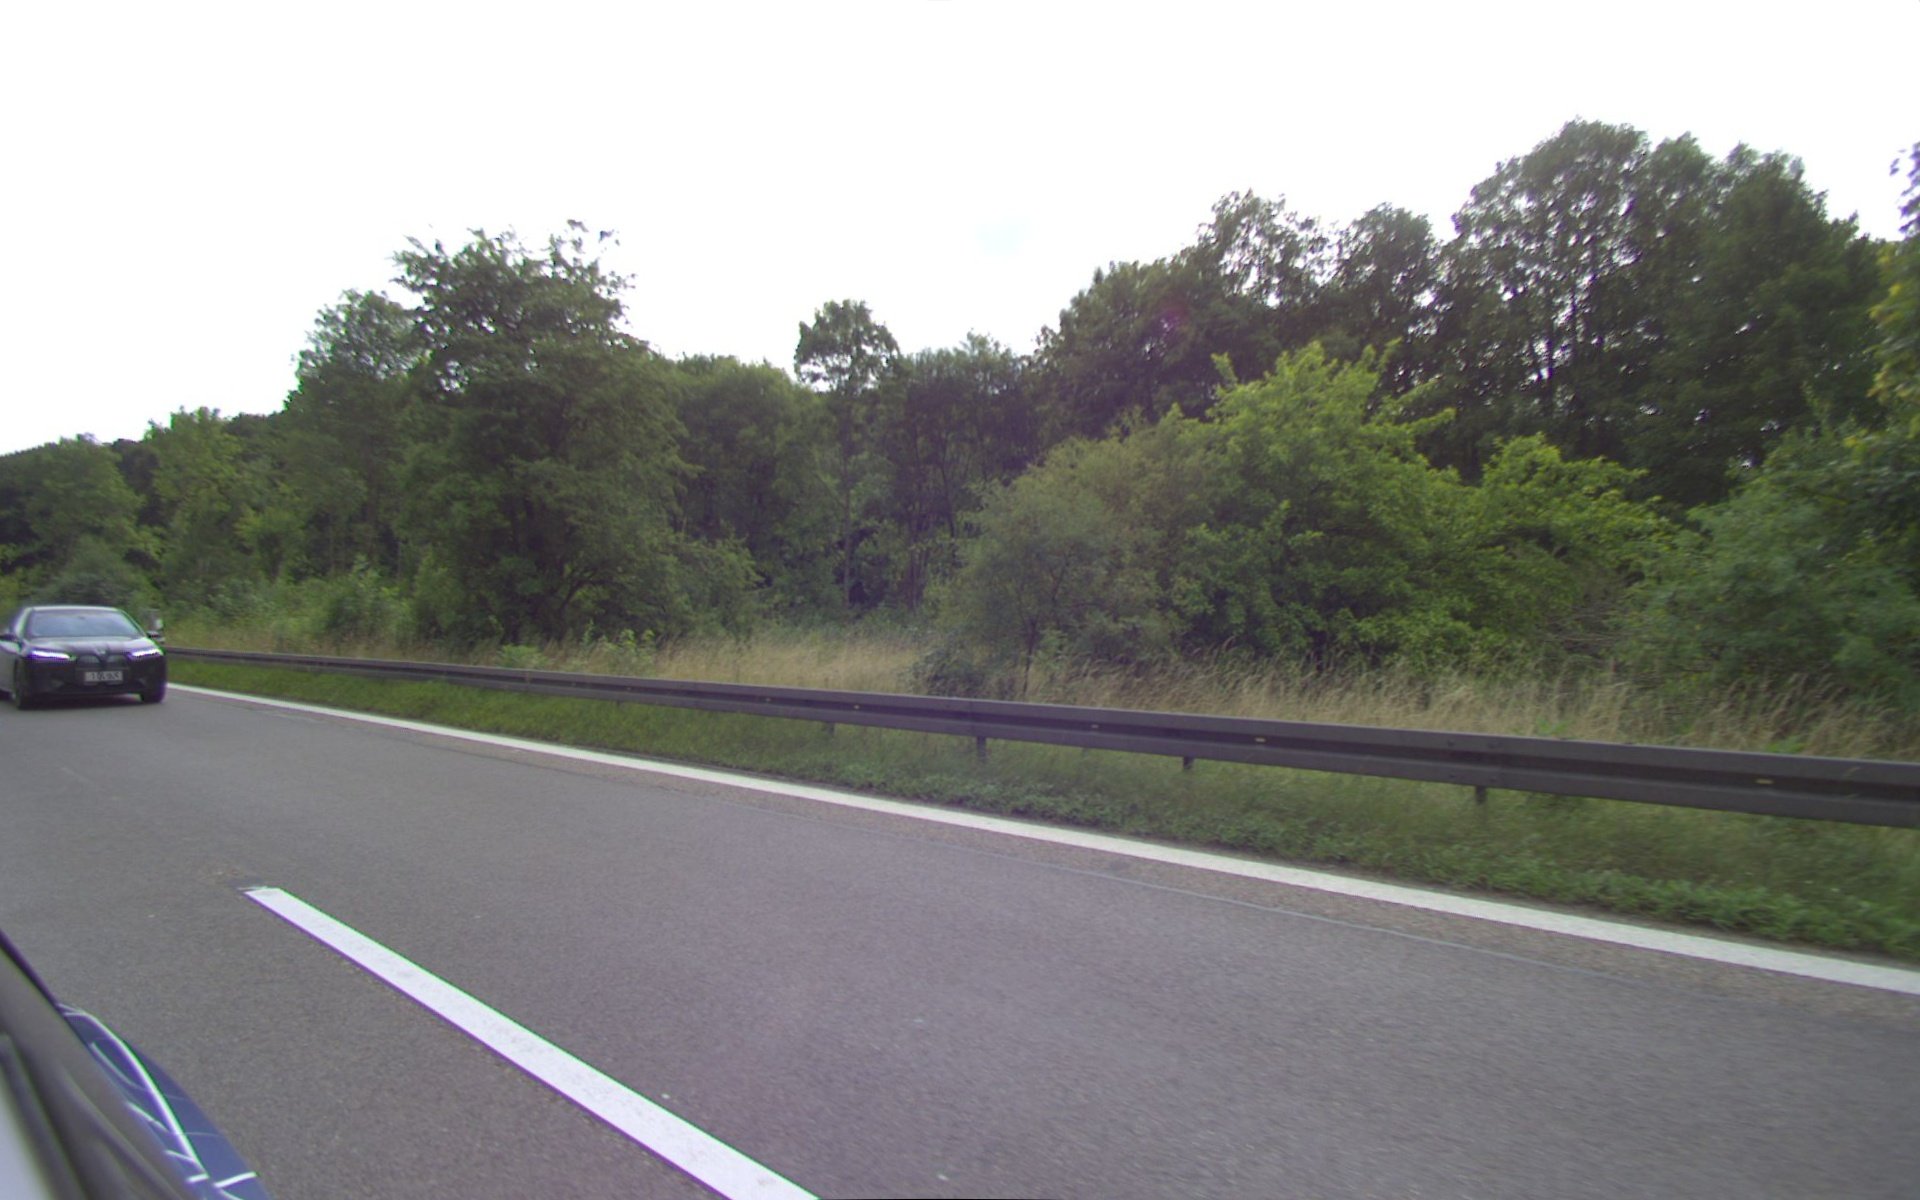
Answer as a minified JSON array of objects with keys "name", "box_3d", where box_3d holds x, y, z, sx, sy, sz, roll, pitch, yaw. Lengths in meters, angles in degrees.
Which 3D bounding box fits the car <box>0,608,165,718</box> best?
[{"name":"car","box_3d":[-15.731,1.002,17.904,4.415,1.678,1.972,-1,0,43]}]
